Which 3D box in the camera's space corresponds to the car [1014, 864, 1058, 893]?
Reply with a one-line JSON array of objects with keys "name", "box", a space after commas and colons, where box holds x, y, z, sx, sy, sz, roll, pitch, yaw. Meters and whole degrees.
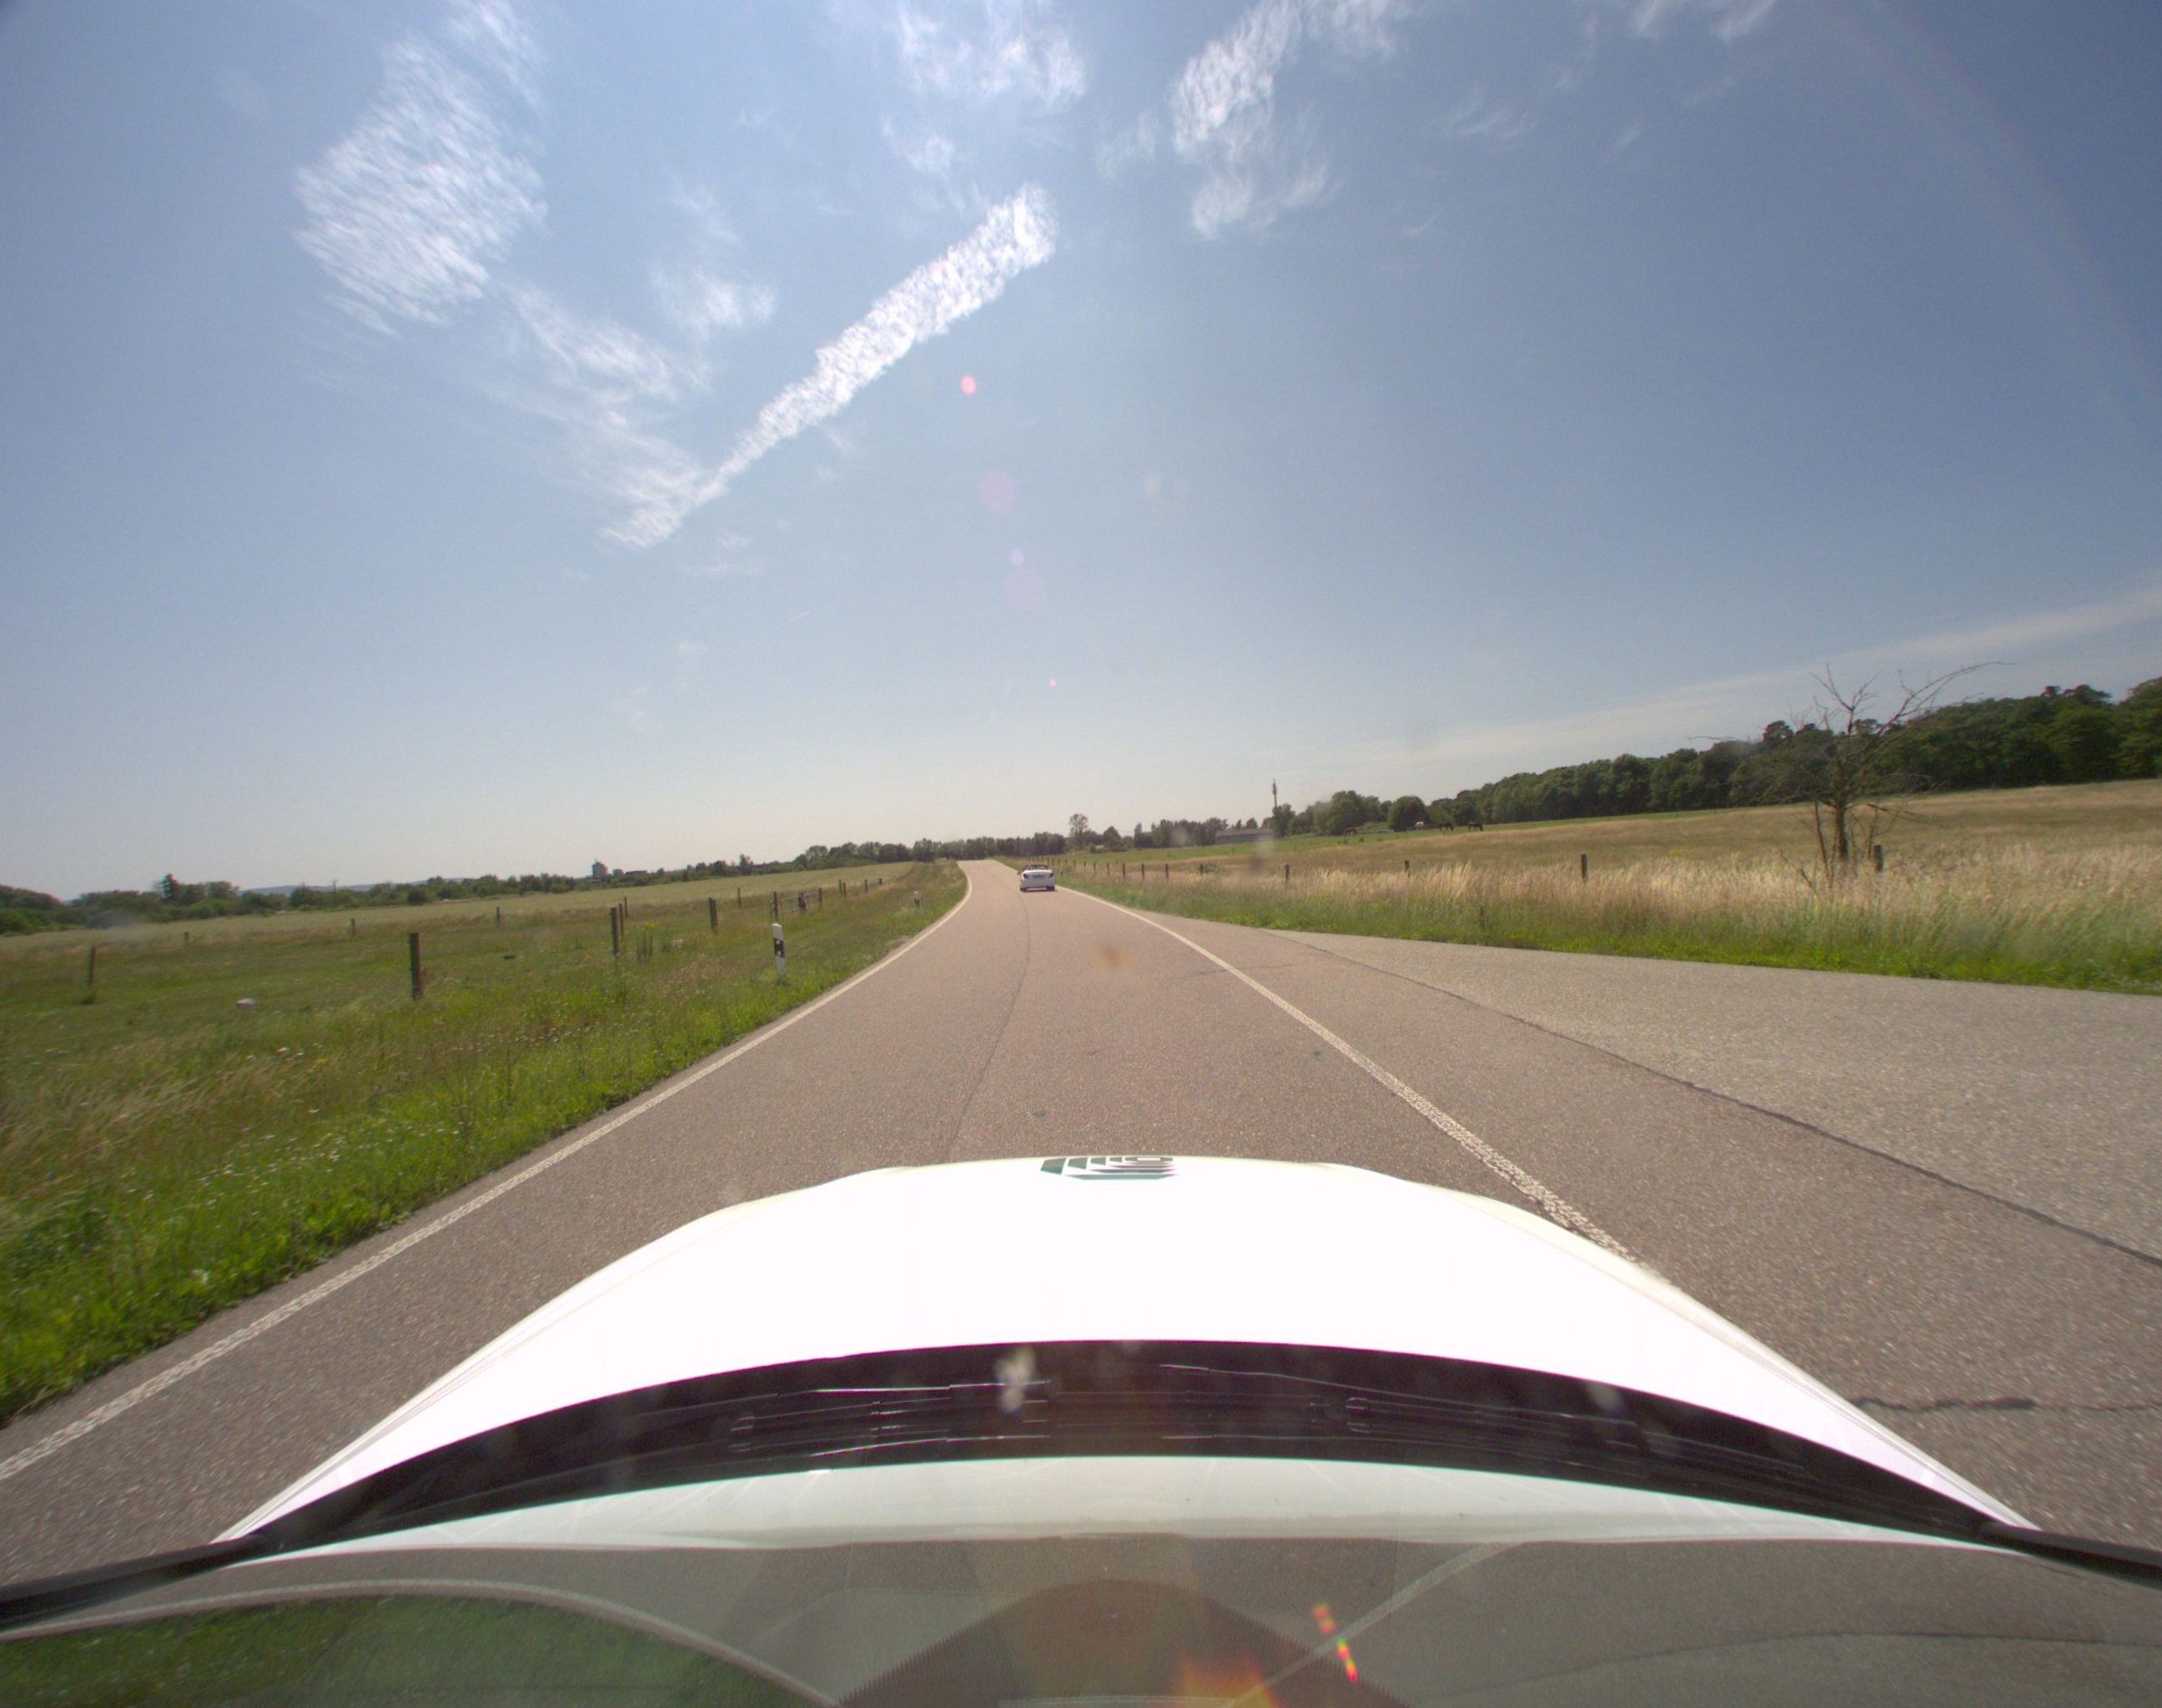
[{"name": "car", "box": [-2.430, 1.272, 43.074, 1.851, 1.379, 3.987, -2, -1, -9]}]
